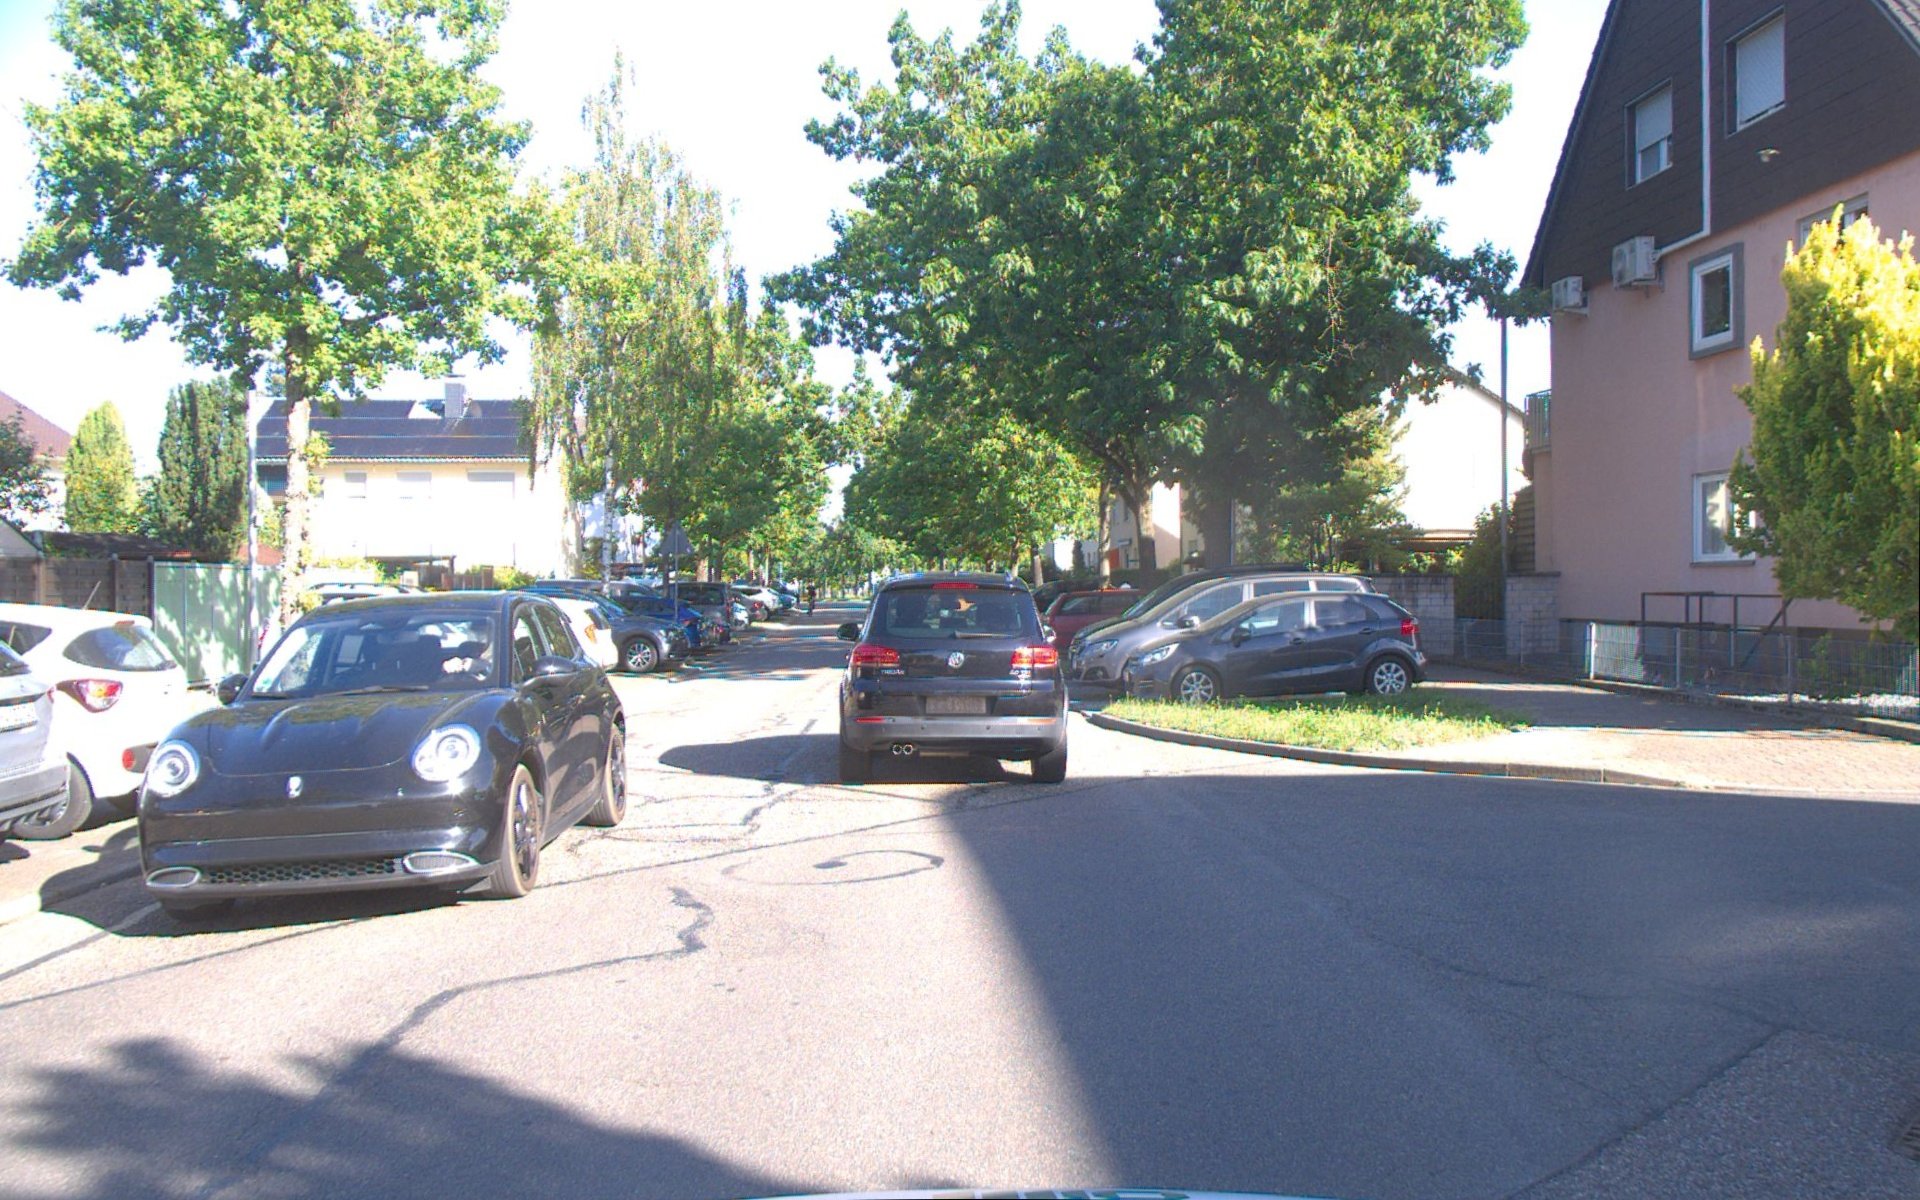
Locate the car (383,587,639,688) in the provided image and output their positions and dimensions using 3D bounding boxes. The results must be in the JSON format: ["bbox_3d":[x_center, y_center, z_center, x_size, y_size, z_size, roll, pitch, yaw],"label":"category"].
[{"bbox_3d":[-7.764,0.622,28.898,3.906,1.668,2.000,-1,1,-1],"label":"car"}]

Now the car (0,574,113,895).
[{"bbox_3d":[-6.710,0.704,8.788,3.483,1.641,1.849,-1,0,-8],"label":"car"}]

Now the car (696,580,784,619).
[{"bbox_3d":[-10.137,-0.044,76.131,3.915,1.713,1.919,-1,0,-10],"label":"car"}]

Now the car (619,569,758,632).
[{"bbox_3d":[-8.681,0.021,53.196,4.306,1.973,1.576,0,-1,-7],"label":"car"}]

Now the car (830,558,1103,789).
[{"bbox_3d":[-0.121,0.522,14.458,1.892,1.683,4.508,1,1,-6],"label":"car"}]

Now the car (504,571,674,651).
[{"bbox_3d":[-9.156,0.254,41.062,3.910,1.868,1.635,-1,0,-7],"label":"car"}]

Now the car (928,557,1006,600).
[{"bbox_3d":[0.327,-1.064,84.350,3.906,2.049,1.999,-1,-2,-2],"label":"car"}]

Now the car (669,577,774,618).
[{"bbox_3d":[-9.519,-0.085,66.222,3.906,1.525,1.999,-1,-1,-2],"label":"car"}]

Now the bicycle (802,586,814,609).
[{"bbox_3d":[-8.094,-0.135,88.221,0.625,1.183,1.739,-1,-1,-6],"label":"bicycle"}]

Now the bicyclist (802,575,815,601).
[{"bbox_3d":[-8.085,-0.656,88.235,0.687,1.369,0.506,-1,-2,-7],"label":"bicyclist"}]

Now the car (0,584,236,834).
[{"bbox_3d":[-7.108,0.708,11.368,3.481,1.585,1.850,-1,0,-7],"label":"car"}]

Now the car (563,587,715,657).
[{"bbox_3d":[-7.380,0.488,38.271,3.306,1.516,1.642,-1,0,-6],"label":"car"}]

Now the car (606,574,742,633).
[{"bbox_3d":[-8.729,0.113,50.721,3.907,1.750,1.819,0,-1,-3],"label":"car"}]

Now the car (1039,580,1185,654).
[{"bbox_3d":[3.339,0.362,36.408,2.987,1.534,1.244,-1,0,-8],"label":"car"}]

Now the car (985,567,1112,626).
[{"bbox_3d":[2.790,-0.127,52.815,3.906,1.806,1.789,-1,0,-2],"label":"car"}]

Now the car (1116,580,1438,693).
[{"bbox_3d":[4.149,0.453,22.085,3.907,1.392,1.846,-1,0,-3],"label":"car"}]

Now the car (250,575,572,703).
[{"bbox_3d":[-7.716,0.518,23.557,3.906,1.699,2.000,-1,1,-1],"label":"car"}]

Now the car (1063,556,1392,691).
[{"bbox_3d":[3.890,0.323,24.572,4.540,1.841,1.823,-1,0,-3],"label":"car"}]

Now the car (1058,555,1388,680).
[{"bbox_3d":[4.307,0.269,27.630,5.154,1.979,1.999,0,0,-3],"label":"car"}]

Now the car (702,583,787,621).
[{"bbox_3d":[-10.246,0.084,78.529,3.915,1.713,1.995,-1,0,-10],"label":"car"}]

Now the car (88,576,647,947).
[{"bbox_3d":[-3.039,0.704,9.449,1.872,1.582,3.998,-2,1,-3],"label":"car"}]

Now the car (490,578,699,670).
[{"bbox_3d":[-7.363,0.458,33.683,3.910,1.762,1.998,-1,0,-6],"label":"car"}]
